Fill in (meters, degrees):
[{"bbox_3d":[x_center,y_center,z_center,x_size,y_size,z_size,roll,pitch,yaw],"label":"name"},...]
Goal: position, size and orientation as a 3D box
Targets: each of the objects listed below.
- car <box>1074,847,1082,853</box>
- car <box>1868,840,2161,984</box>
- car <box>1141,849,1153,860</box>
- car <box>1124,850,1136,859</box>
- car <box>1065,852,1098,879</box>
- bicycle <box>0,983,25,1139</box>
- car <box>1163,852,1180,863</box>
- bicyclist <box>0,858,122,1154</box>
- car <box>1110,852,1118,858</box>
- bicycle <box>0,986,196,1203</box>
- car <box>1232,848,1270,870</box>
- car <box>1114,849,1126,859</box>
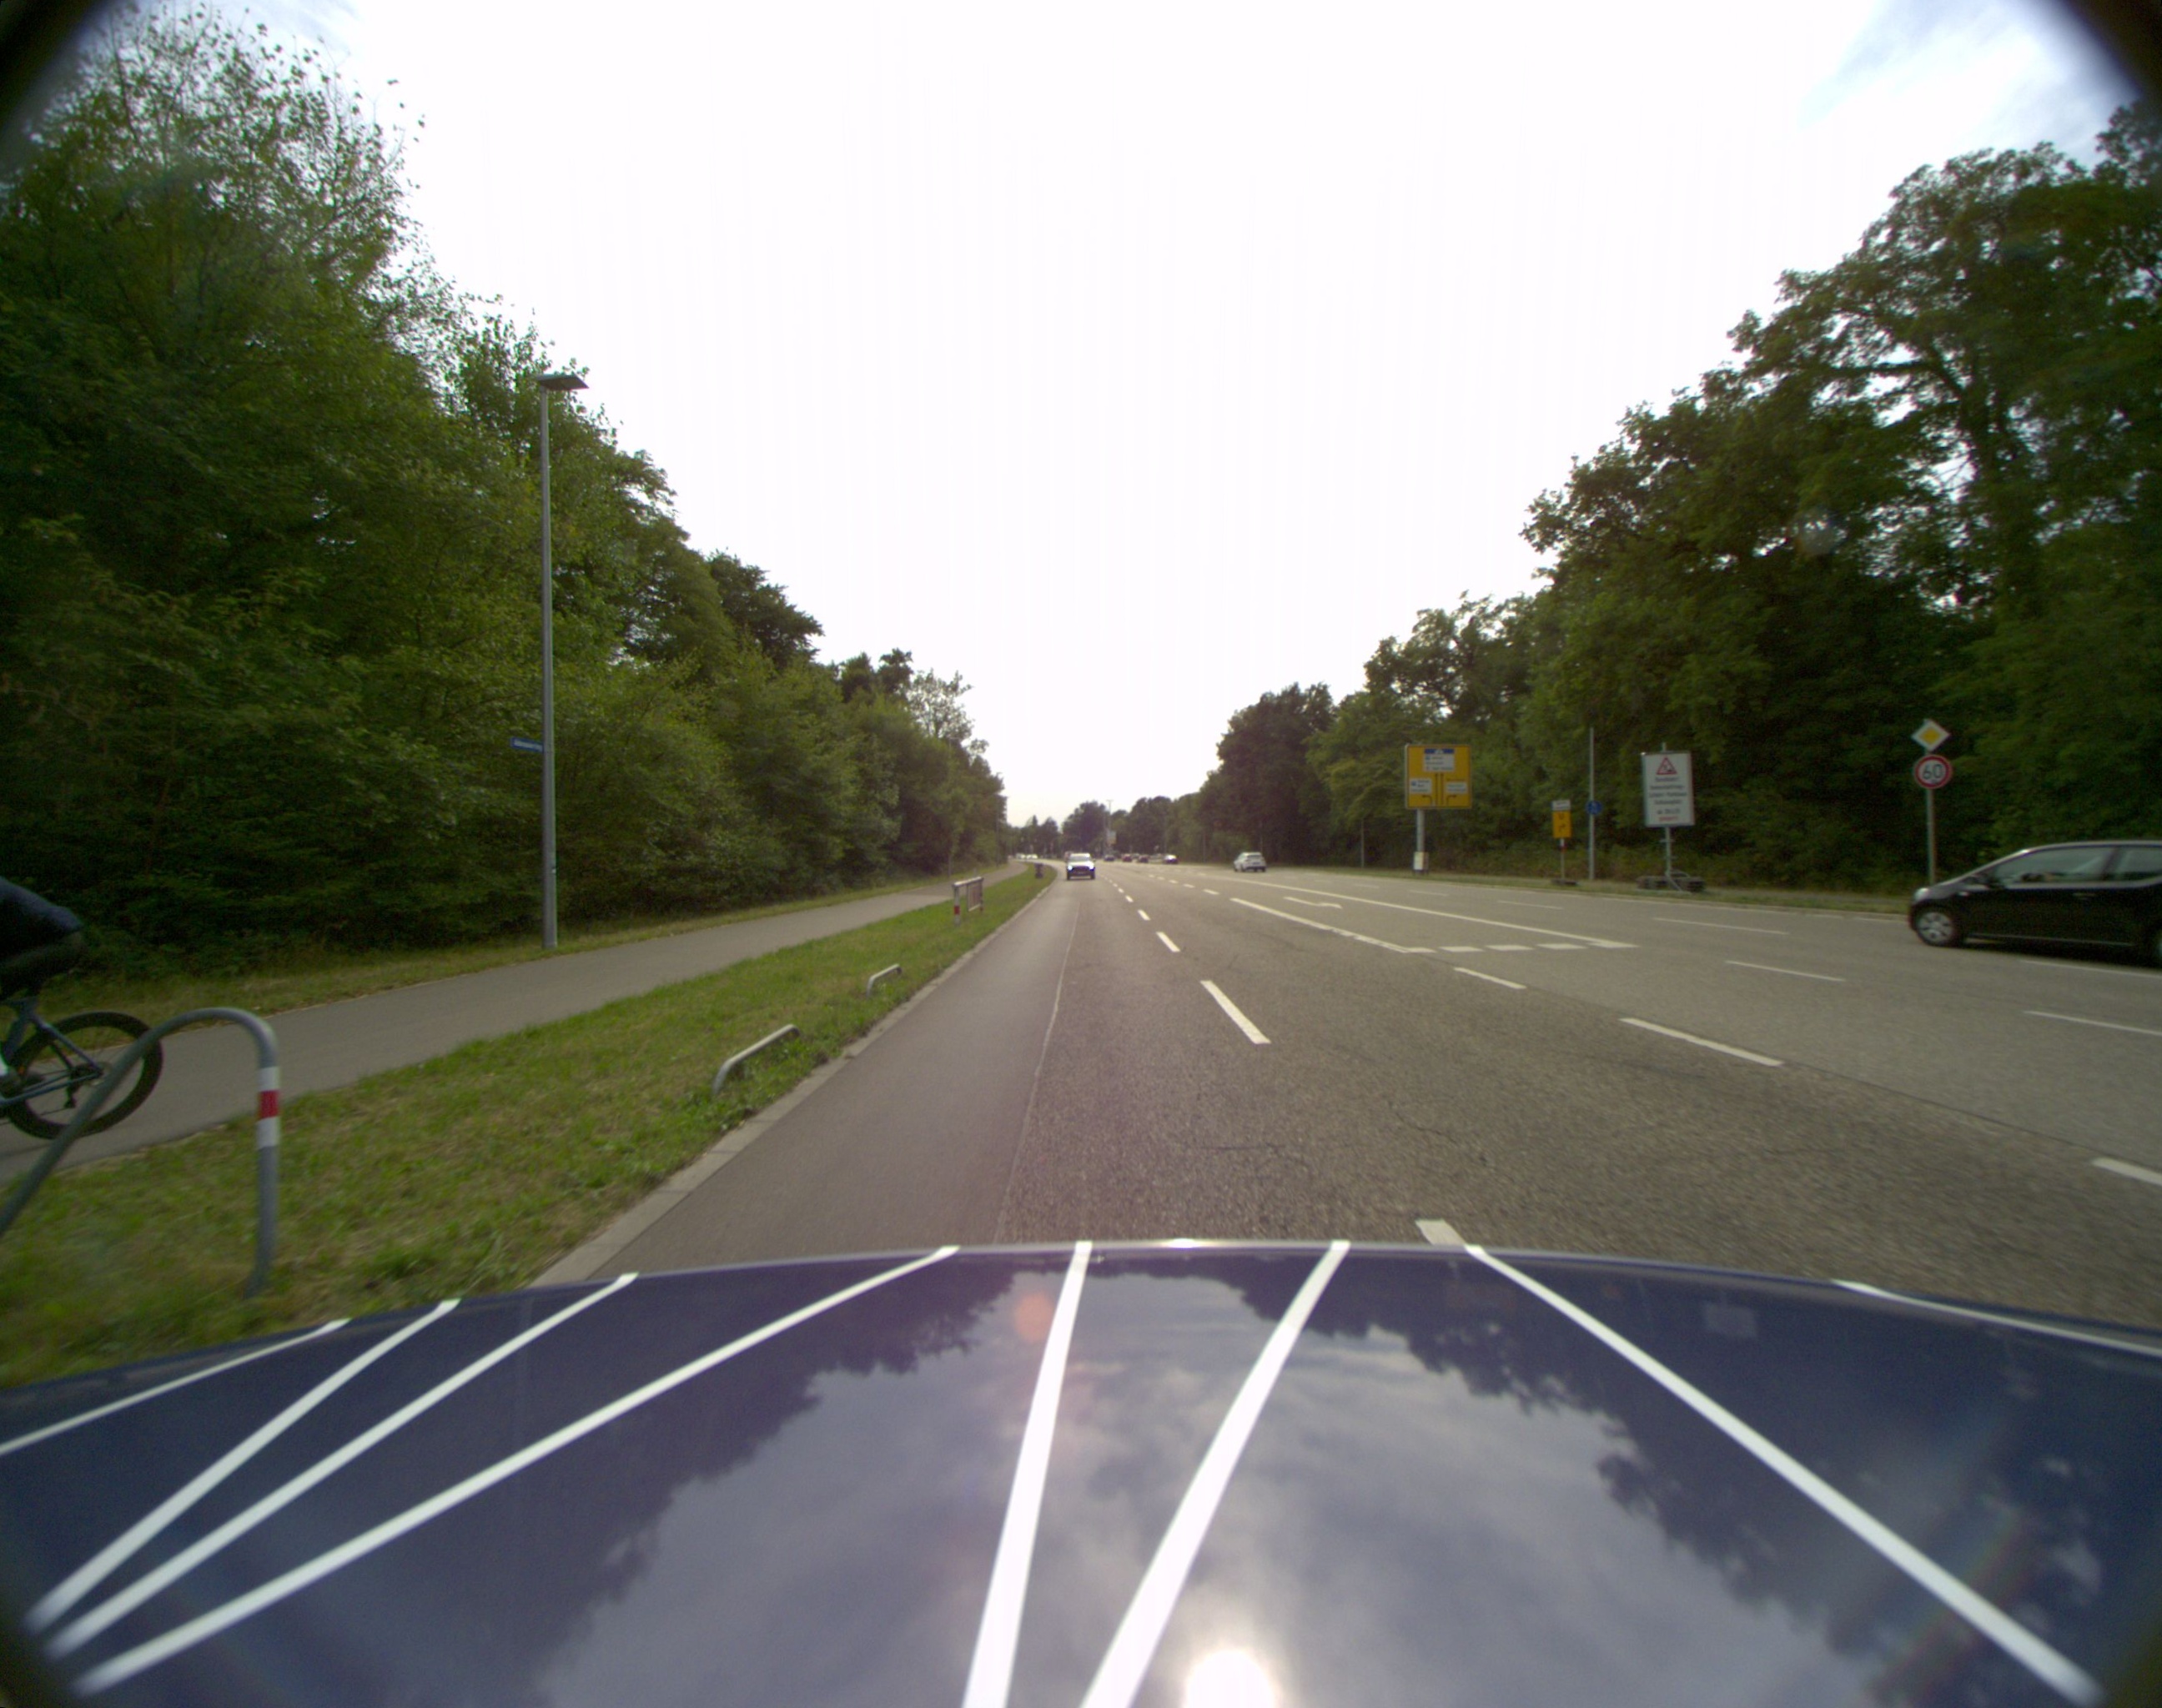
[{"bbox_3d":[-0.841,-1.156,230.072,1.999,1.718,3.998,0,0,-4],"label":"car"},{"bbox_3d":[12.432,0.601,9.201,1.745,1.467,4.000,-2,1,3],"label":"car"},{"bbox_3d":[12.272,0.061,141.447,1.998,1.871,3.999,-3,1,1],"label":"car"},{"bbox_3d":[10.486,0.056,163.584,1.999,1.871,3.998,-3,1,-3],"label":"car"},{"bbox_3d":[-0.005,0.719,49.635,1.999,1.565,3.999,-3,1,-1],"label":"car"},{"bbox_3d":[-6.664,1.227,3.644,0.567,0.906,1.887,-1,0,0],"label":"bicycle"},{"bbox_3d":[13.913,0.513,117.226,1.999,1.585,3.999,-3,1,-2],"label":"car"},{"bbox_3d":[-5.431,0.736,3.479,0.521,1.407,1.186,-1,1,0],"label":"bicyclist"},{"bbox_3d":[7.148,0.263,164.043,1.400,1.263,3.777,-3,1,-3],"label":"car"},{"bbox_3d":[-5.429,1.208,3.539,0.567,0.906,1.755,-1,-1,0],"label":"bicycle"},{"bbox_3d":[13.137,0.364,58.979,1.939,1.492,4.591,-3,1,1],"label":"car"},{"bbox_3d":[8.867,-0.040,172.514,1.999,2.002,3.998,-3,1,-4],"label":"car"}]
